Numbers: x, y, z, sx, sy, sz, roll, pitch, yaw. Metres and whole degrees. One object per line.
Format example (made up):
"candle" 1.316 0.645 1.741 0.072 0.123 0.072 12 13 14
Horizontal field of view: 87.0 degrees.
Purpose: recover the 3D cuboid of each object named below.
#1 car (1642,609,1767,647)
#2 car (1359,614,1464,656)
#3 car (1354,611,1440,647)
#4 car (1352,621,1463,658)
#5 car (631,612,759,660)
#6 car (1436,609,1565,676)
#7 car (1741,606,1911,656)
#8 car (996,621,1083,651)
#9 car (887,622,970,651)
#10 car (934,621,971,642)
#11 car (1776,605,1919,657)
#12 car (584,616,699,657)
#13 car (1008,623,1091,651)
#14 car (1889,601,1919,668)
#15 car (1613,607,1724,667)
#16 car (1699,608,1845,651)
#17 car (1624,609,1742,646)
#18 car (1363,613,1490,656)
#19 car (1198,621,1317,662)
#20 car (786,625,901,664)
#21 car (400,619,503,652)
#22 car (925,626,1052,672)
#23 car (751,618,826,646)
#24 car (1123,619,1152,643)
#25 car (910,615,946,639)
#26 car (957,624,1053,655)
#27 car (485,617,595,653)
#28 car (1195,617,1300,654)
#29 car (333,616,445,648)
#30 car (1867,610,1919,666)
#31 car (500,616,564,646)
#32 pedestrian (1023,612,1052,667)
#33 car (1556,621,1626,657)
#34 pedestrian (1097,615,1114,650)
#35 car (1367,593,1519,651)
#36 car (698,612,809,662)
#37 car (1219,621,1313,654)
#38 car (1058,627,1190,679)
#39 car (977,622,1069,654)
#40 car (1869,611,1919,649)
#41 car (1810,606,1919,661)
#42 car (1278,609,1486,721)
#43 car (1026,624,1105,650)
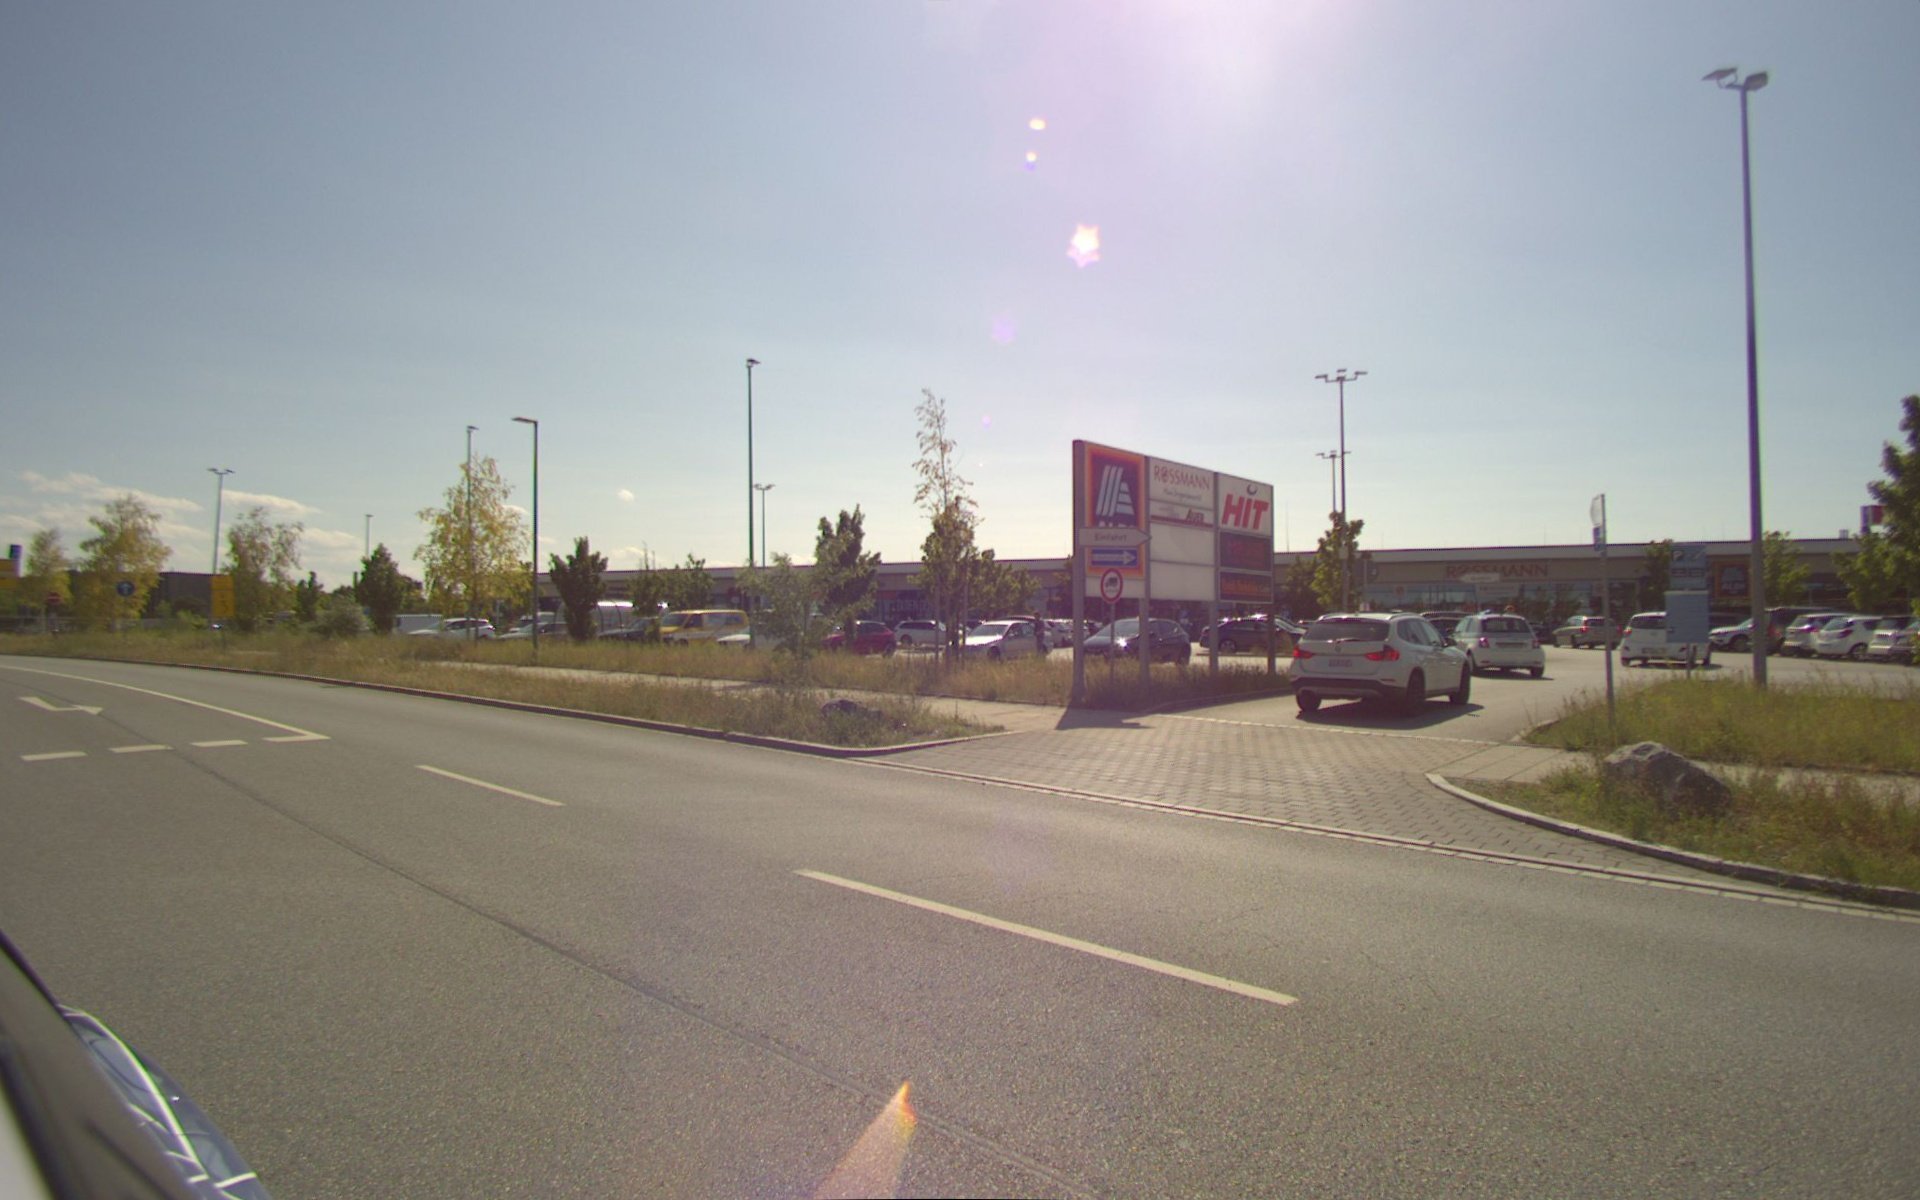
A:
"car" 35.209 1.320 47.980 4.343 1.752 1.907 0 -1 17
"car" 20.958 1.623 47.157 4.320 1.865 1.706 -1 -2 19
"car" 24.711 1.632 57.418 4.320 1.973 1.706 -1 -2 19
"car" 19.632 1.722 44.613 4.320 1.588 1.706 -1 -2 19
"car" -11.578 1.561 44.642 1.994 1.980 5.636 -1 -2 33
"car" 13.580 1.025 25.693 1.899 1.559 3.982 0 -1 14
"car" 32.106 1.132 37.683 4.343 1.807 1.907 0 -1 17
"car" 4.230 1.909 53.696 4.320 1.584 1.706 -1 -2 19
"car" -1.738 2.013 55.734 4.324 1.538 1.705 -1 -2 22
"car" -0.532 2.308 74.899 1.701 1.530 4.334 -1 -2 14
"car" 31.569 1.064 35.327 4.341 1.739 1.908 0 -1 15
"car" -14.095 1.609 45.051 1.877 1.685 4.728 -1 -2 34
"car" 4.976 2.040 56.253 4.320 1.544 1.706 -1 -2 19
"car" 28.613 0.953 27.628 4.350 1.817 1.904 0 -1 21
"car" 19.861 1.012 28.300 1.918 1.559 3.942 -1 -2 44
"car" 33.974 1.235 42.489 4.343 1.738 1.907 0 -1 17
"car" 35.925 1.351 50.442 4.343 1.774 1.907 0 -1 17
"car" 18.137 1.344 39.562 4.320 1.593 1.706 -1 -2 19
"car" 11.474 1.577 39.100 4.320 1.528 1.706 -1 -2 19
"car" -4.298 1.627 37.834 1.935 1.358 4.102 -2 -2 40
"car" -26.890 1.862 53.675 1.993 1.685 4.555 -1 -2 32
"car" 0.967 1.519 32.221 1.935 1.358 4.102 -2 -2 40
"car" -10.940 2.037 64.553 4.553 1.754 1.704 -1 -2 23
"car" 12.462 2.163 71.068 1.701 1.646 4.334 -1 -2 14
"car" -2.403 2.058 77.146 1.701 1.821 4.334 -1 -2 14
"car" 2.160 1.875 48.386 4.320 1.428 1.706 -1 -2 19
"car" -20.407 1.698 49.377 1.994 1.685 4.663 -1 -2 33
"car" 12.619 1.550 44.433 4.320 1.573 1.706 -1 -2 19
"car" -31.514 1.759 56.025 1.990 1.685 5.150 -1 -2 26
"car" 30.056 1.126 29.936 4.350 1.630 1.904 0 -1 21
"car" -37.408 2.715 88.688 1.924 2.607 5.686 -1 -2 17
"pedestrian" 2.455 1.247 31.968 0.578 1.708 0.757 -1 -2 40
"car" 28.946 1.747 46.554 1.826 1.559 3.974 0 -1 19
"pedestrian" 7.761 1.721 53.952 0.775 1.837 0.566 0 -2 21
"car" 17.514 0.816 36.962 4.796 2.001 1.706 -1 -2 19
"car" -8.251 1.475 40.683 1.930 1.875 4.104 -1 -2 38
"car" 14.893 1.812 49.304 4.320 1.556 1.706 -1 -2 19
"car" 4.746 1.455 28.878 1.935 1.358 4.102 -2 -2 40
"car" 3.170 1.876 50.597 4.320 1.561 1.706 -1 -2 19
"car" 41.440 1.257 42.558 4.350 1.604 1.825 0 -1 21
"car" 30.690 1.078 32.830 4.334 1.731 1.911 0 -1 11
"car" 6.912 0.950 16.344 1.916 1.559 4.169 -1 -2 41
"car" 6.094 2.126 58.541 4.320 1.428 1.706 -1 -2 19
